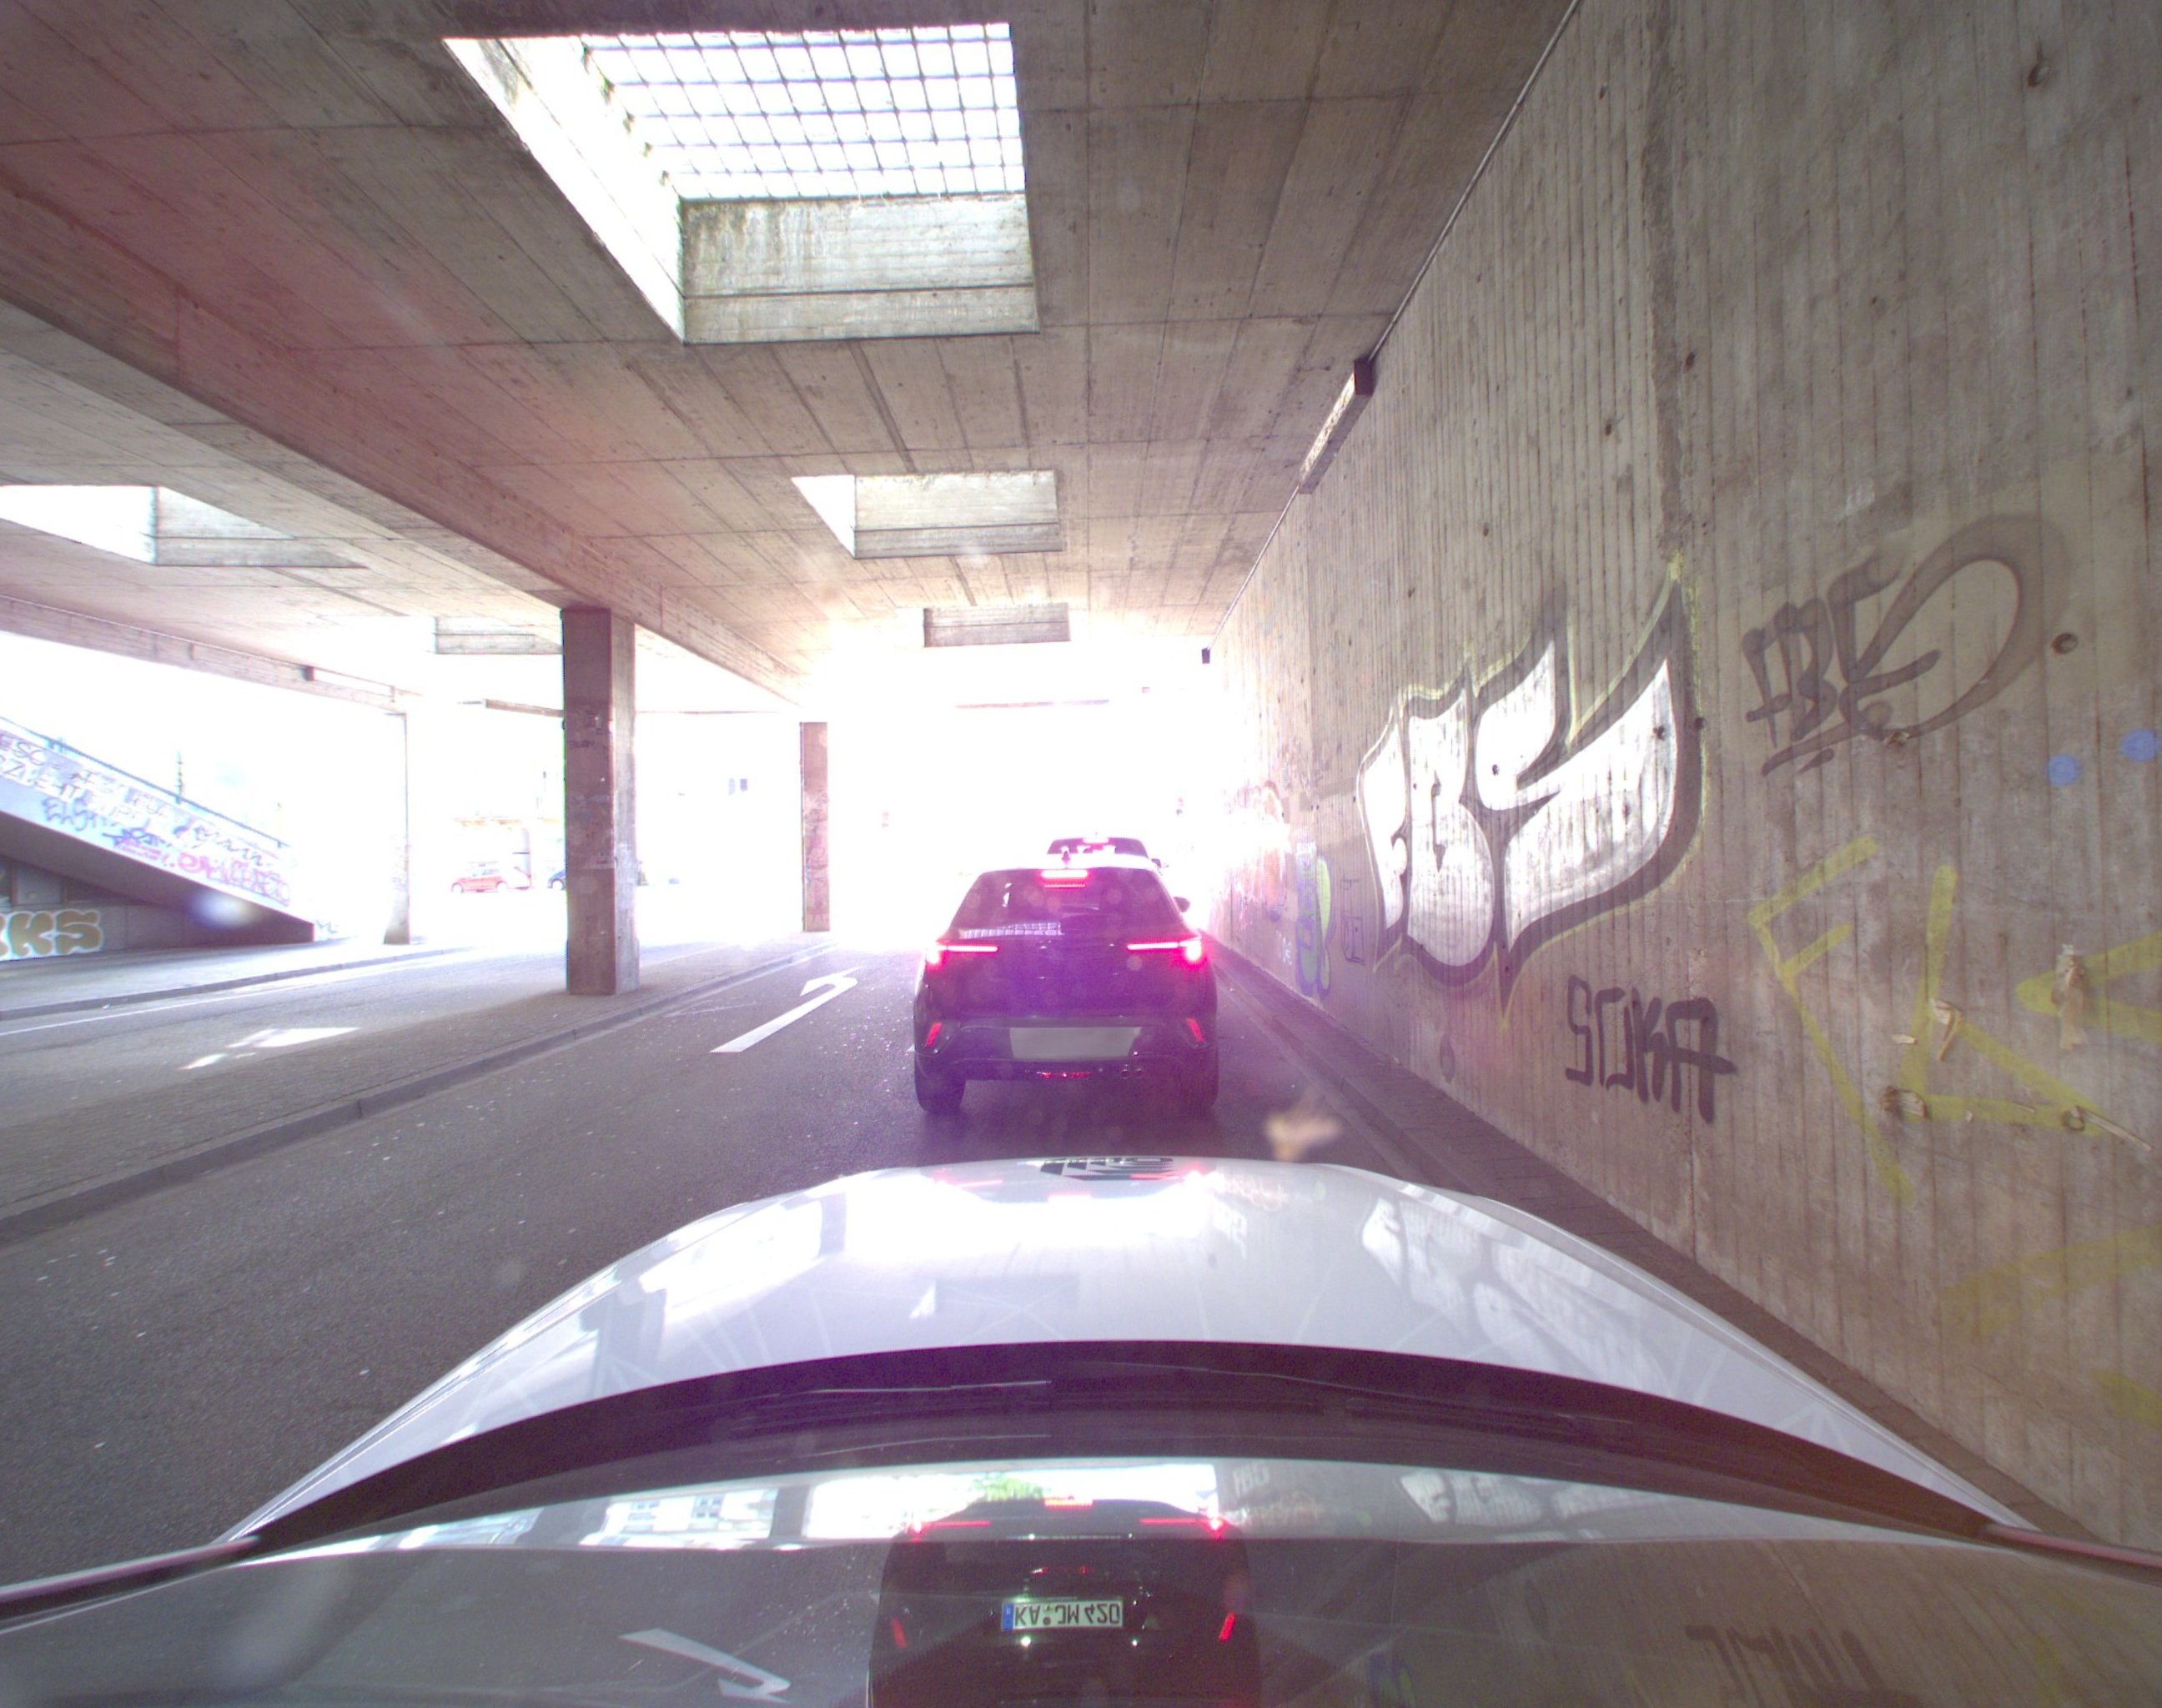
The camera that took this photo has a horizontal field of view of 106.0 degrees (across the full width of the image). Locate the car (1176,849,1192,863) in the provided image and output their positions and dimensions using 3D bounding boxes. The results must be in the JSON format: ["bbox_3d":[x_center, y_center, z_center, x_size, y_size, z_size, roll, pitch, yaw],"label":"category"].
[{"bbox_3d":[12.114,0.244,95.805,1.573,1.640,3.819,-1,0,12],"label":"car"}]

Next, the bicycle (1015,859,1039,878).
[{"bbox_3d":[-3.415,0.897,51.604,0.730,1.130,2.036,-2,0,19],"label":"bicycle"}]

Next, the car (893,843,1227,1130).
[{"bbox_3d":[-0.038,0.696,6.274,1.746,1.498,4.002,0,0,2],"label":"car"}]

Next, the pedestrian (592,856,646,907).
[{"bbox_3d":[-16.284,0.949,28.728,1.103,1.737,1.146,-2,0,15],"label":"pedestrian"}]

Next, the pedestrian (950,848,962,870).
[{"bbox_3d":[-9.811,0.415,63.776,0.617,1.705,0.727,-1,-1,22],"label":"pedestrian"}]

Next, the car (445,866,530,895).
[{"bbox_3d":[-32.847,1.450,45.131,3.519,1.506,1.563,-2,0,2],"label":"car"}]

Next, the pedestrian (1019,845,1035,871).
[{"bbox_3d":[-3.400,0.263,51.692,0.729,1.585,0.894,0,-1,18],"label":"pedestrian"}]

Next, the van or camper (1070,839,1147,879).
[{"bbox_3d":[1.509,0.277,43.746,3.854,2.013,2.005,-2,0,9],"label":"van or camper"}]

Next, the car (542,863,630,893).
[{"bbox_3d":[-27.426,1.299,45.219,3.742,1.508,1.752,-2,0,0],"label":"car"}]

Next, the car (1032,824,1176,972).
[{"bbox_3d":[0.358,0.544,12.133,1.779,1.833,3.962,-1,0,2],"label":"car"}]

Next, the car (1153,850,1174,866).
[{"bbox_3d":[8.202,0.370,80.831,1.588,1.452,3.807,-1,0,11],"label":"car"}]
